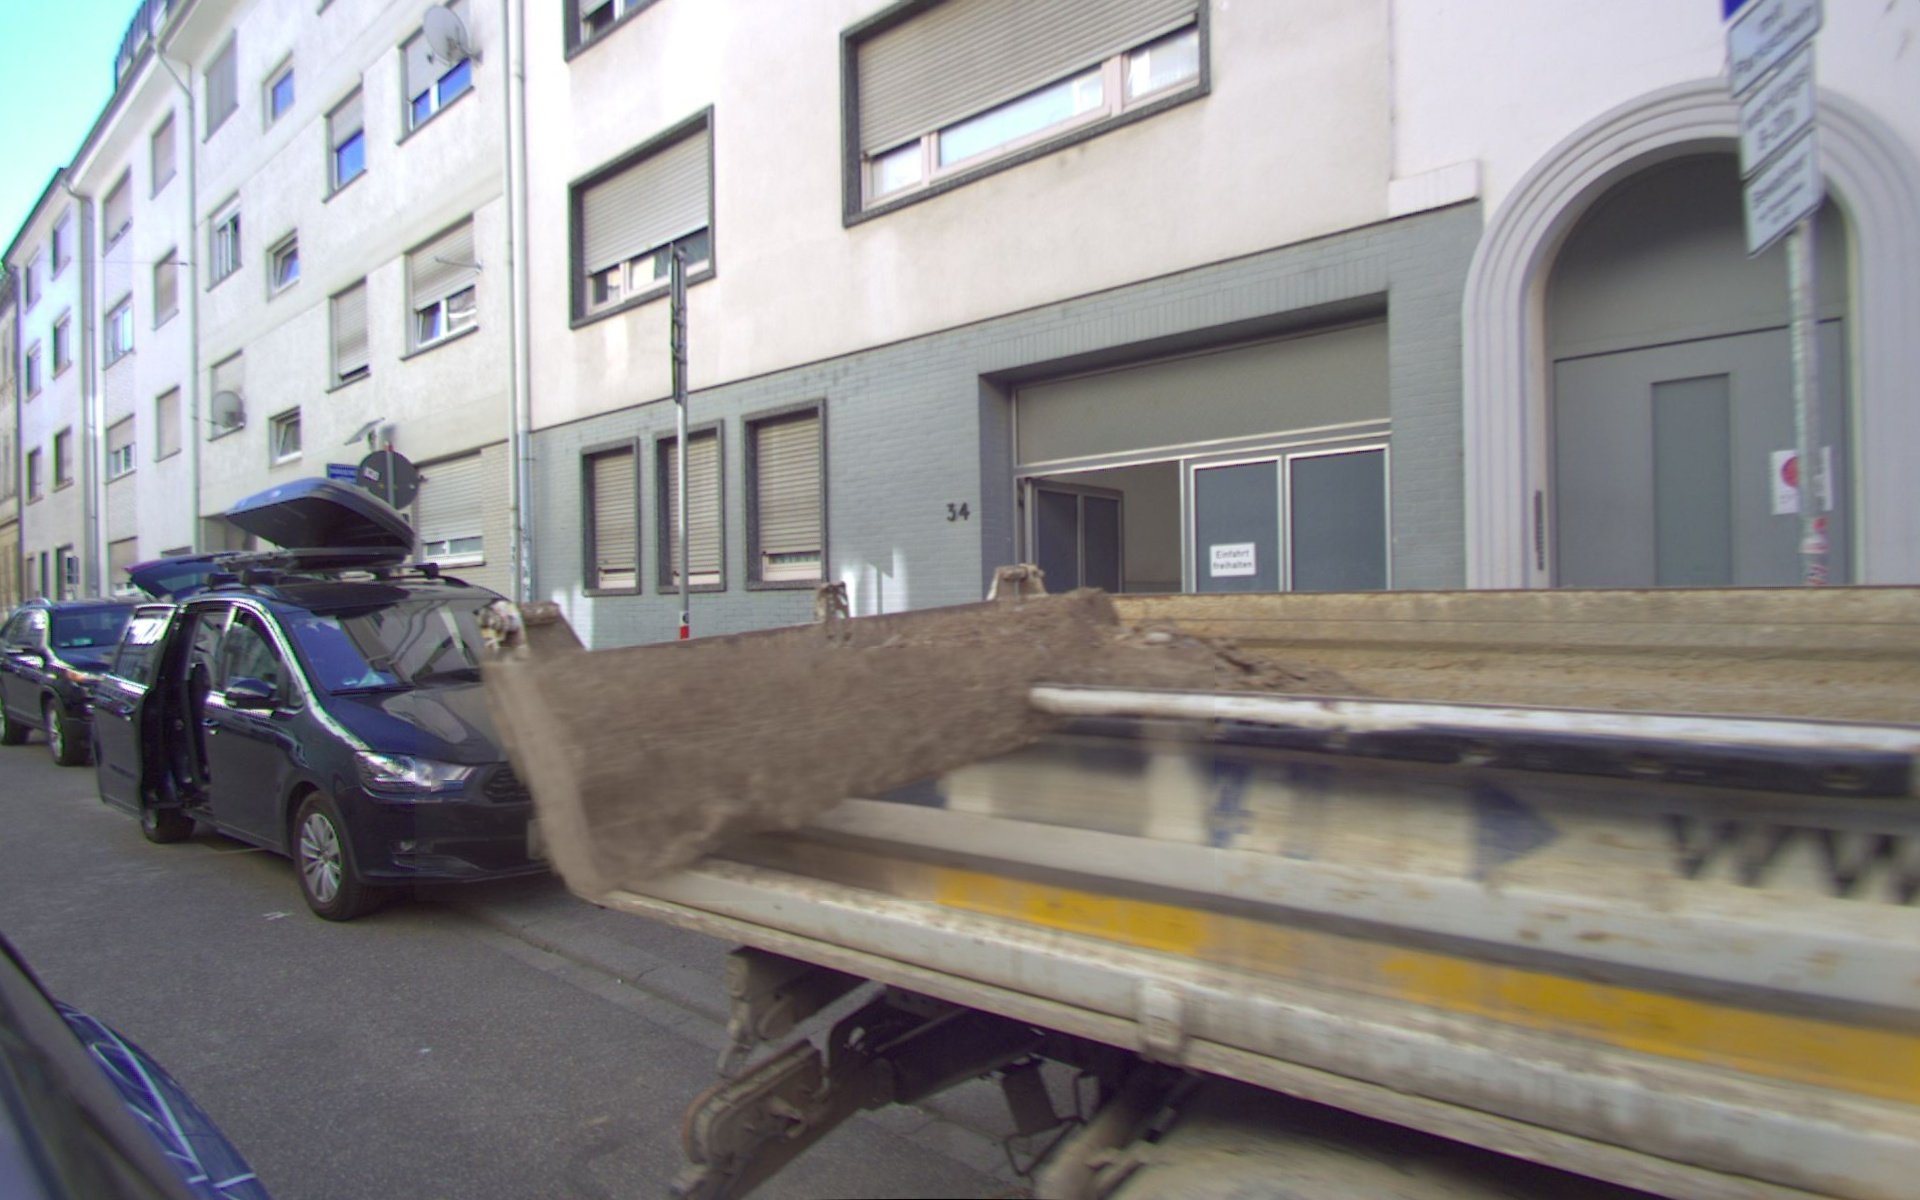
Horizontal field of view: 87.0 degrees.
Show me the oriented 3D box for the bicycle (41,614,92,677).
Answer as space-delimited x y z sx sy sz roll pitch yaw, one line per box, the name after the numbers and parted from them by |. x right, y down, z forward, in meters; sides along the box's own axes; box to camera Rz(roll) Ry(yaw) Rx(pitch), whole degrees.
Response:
-22.461 1.126 25.433 1.797 1.520 0.552 -1 1 37 | bicycle

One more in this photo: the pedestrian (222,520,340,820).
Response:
-5.385 0.519 8.023 0.687 2.245 0.612 0 0 40 | pedestrian

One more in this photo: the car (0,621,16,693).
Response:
-21.777 1.228 21.666 4.297 1.461 1.690 -1 0 39 | car

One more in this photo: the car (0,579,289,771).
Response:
-9.909 0.776 11.887 4.534 1.768 1.863 -2 2 37 | car

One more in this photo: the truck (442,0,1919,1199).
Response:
2.141 0.040 1.034 6.236 2.609 2.138 0 1 36 | truck

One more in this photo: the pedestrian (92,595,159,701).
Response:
-15.983 0.905 19.380 0.690 1.948 0.798 -2 2 40 | pedestrian

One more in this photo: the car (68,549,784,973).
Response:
-3.823 0.678 6.730 5.238 1.718 2.417 -1 0 40 | car
